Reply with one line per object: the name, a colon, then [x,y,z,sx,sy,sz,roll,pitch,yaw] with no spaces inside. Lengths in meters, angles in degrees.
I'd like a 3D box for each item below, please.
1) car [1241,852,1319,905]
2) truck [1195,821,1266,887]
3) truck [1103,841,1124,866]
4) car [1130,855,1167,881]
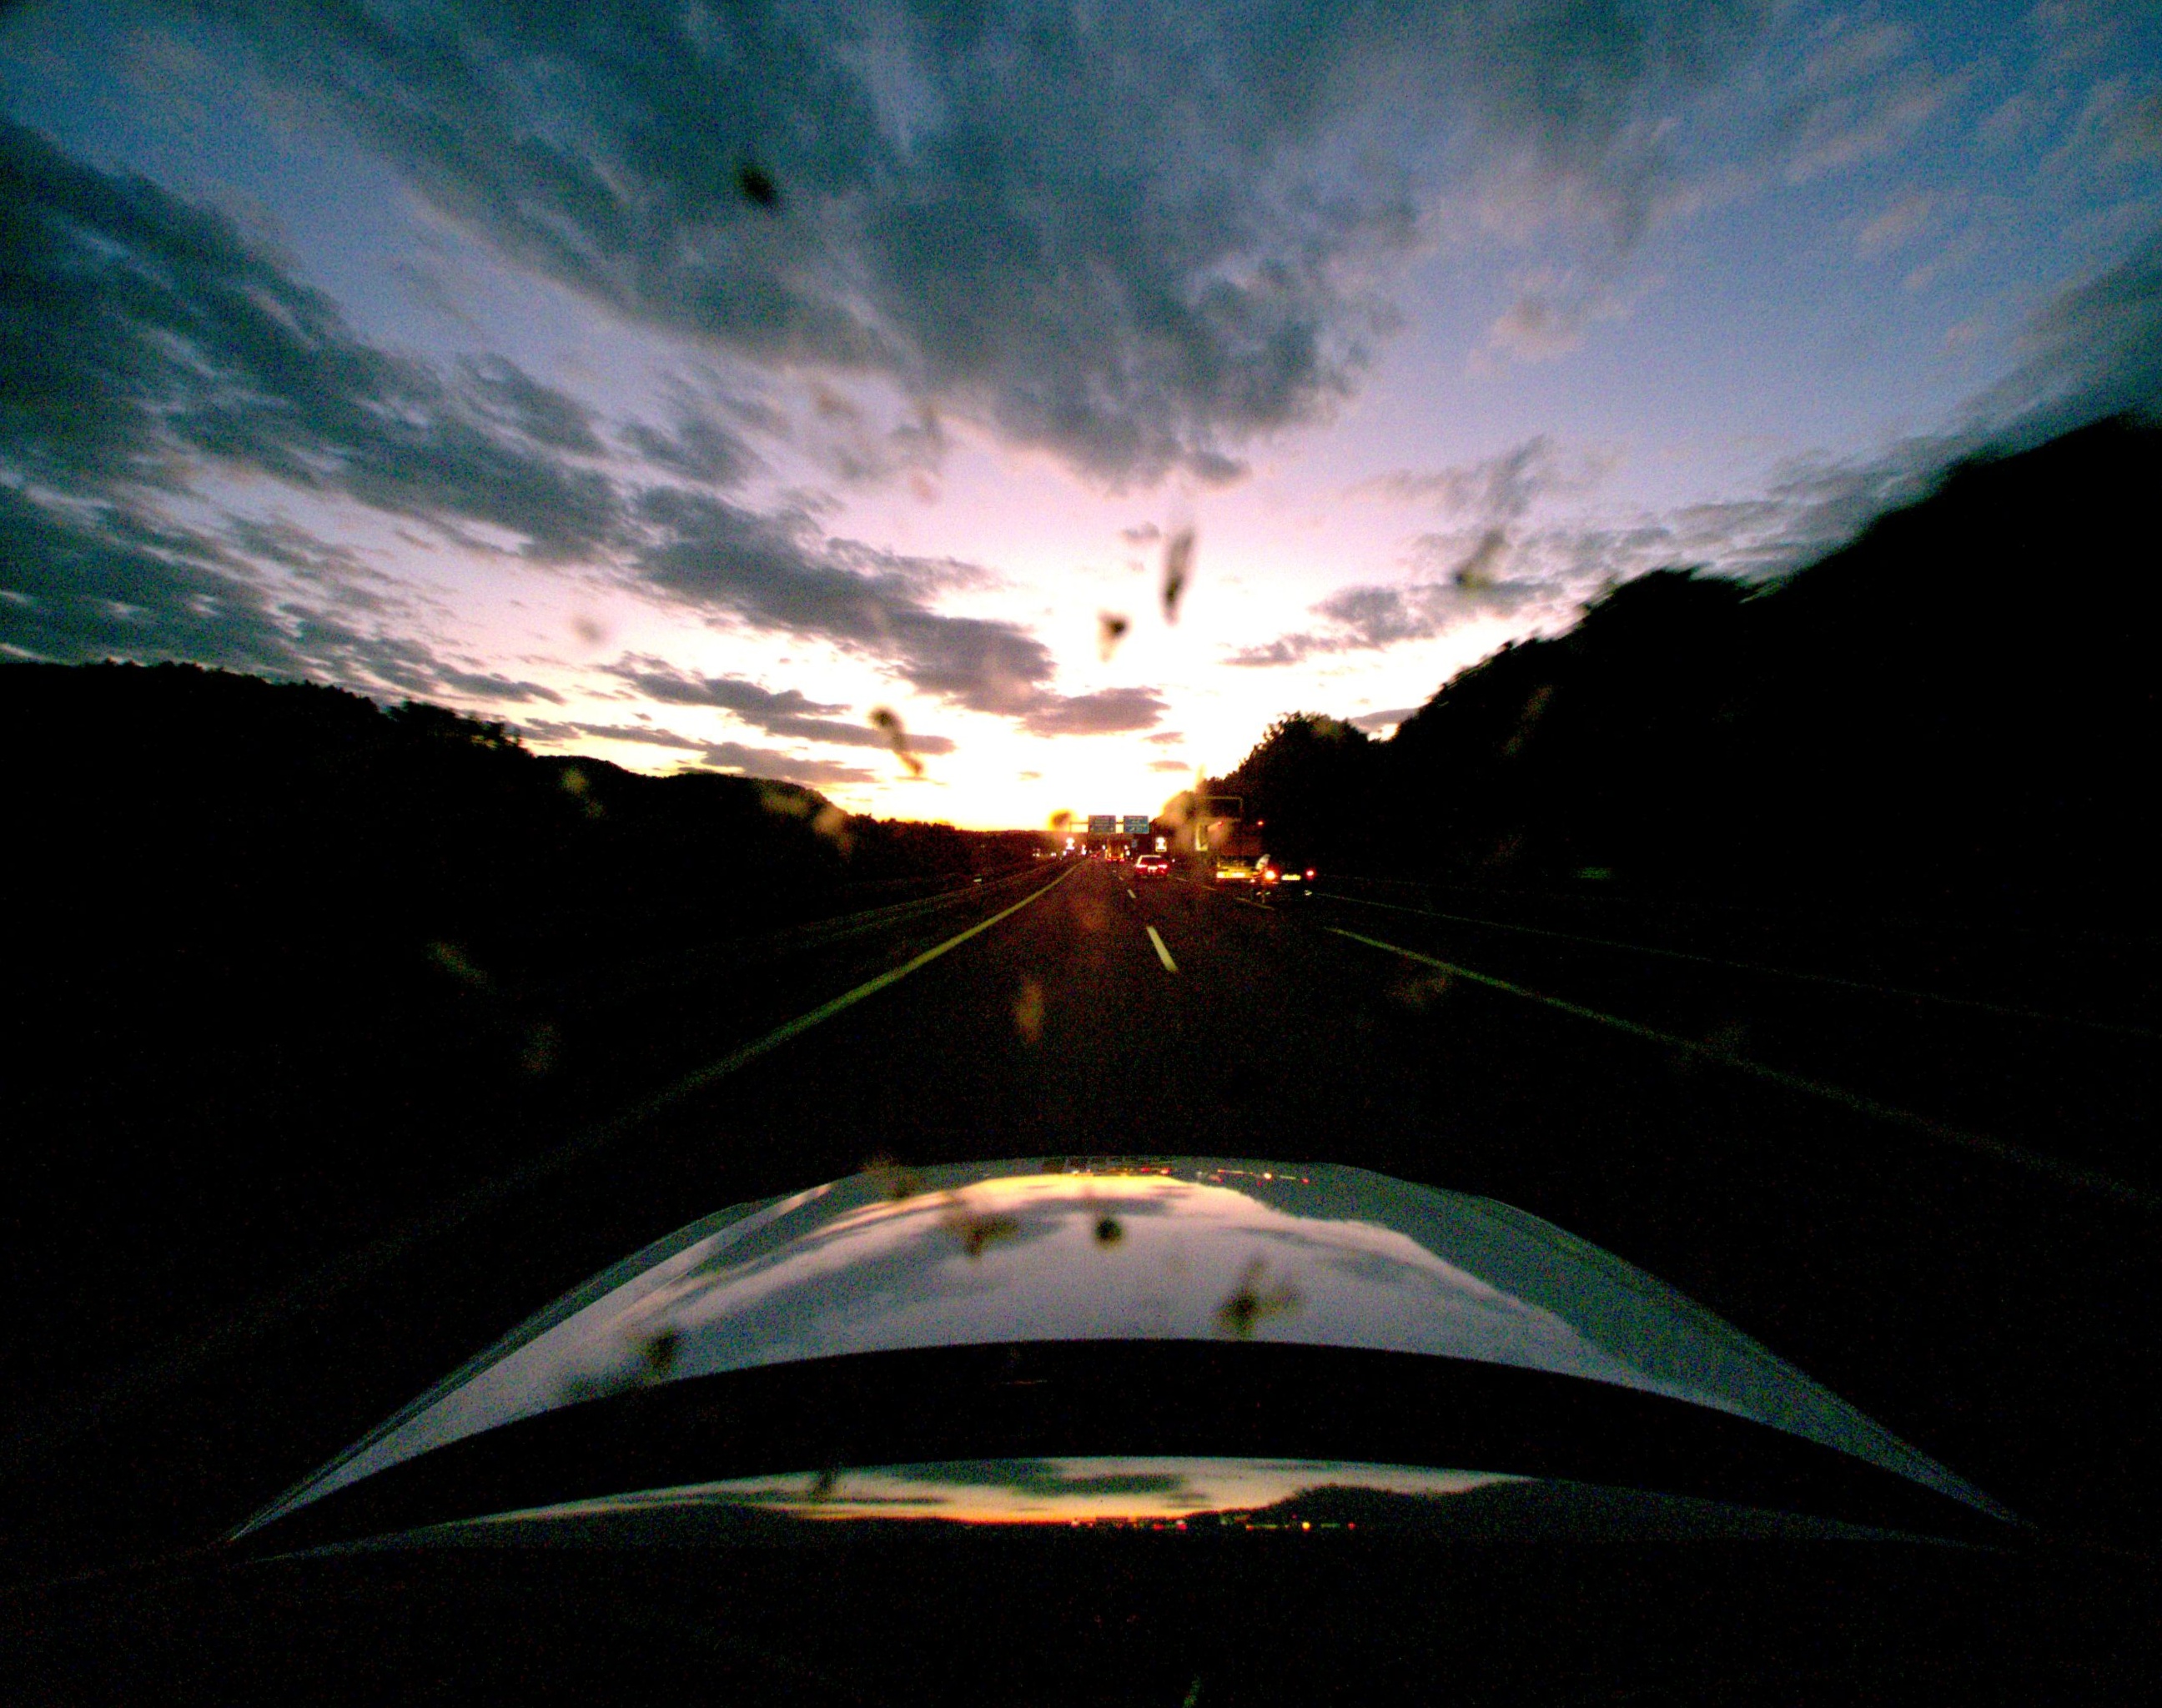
car: [6.089,0.726,25.223,1.605,1.556,3.317,0,-1,-1]
truck: [7.345,0.001,40.702,2.261,2.972,6.631,2,0,0]
truck: [5.678,-0.111,145.290,3.498,4.301,9.890,0,-1,0]
car: [3.927,0.802,47.822,1.908,1.442,4.000,0,-1,1]
